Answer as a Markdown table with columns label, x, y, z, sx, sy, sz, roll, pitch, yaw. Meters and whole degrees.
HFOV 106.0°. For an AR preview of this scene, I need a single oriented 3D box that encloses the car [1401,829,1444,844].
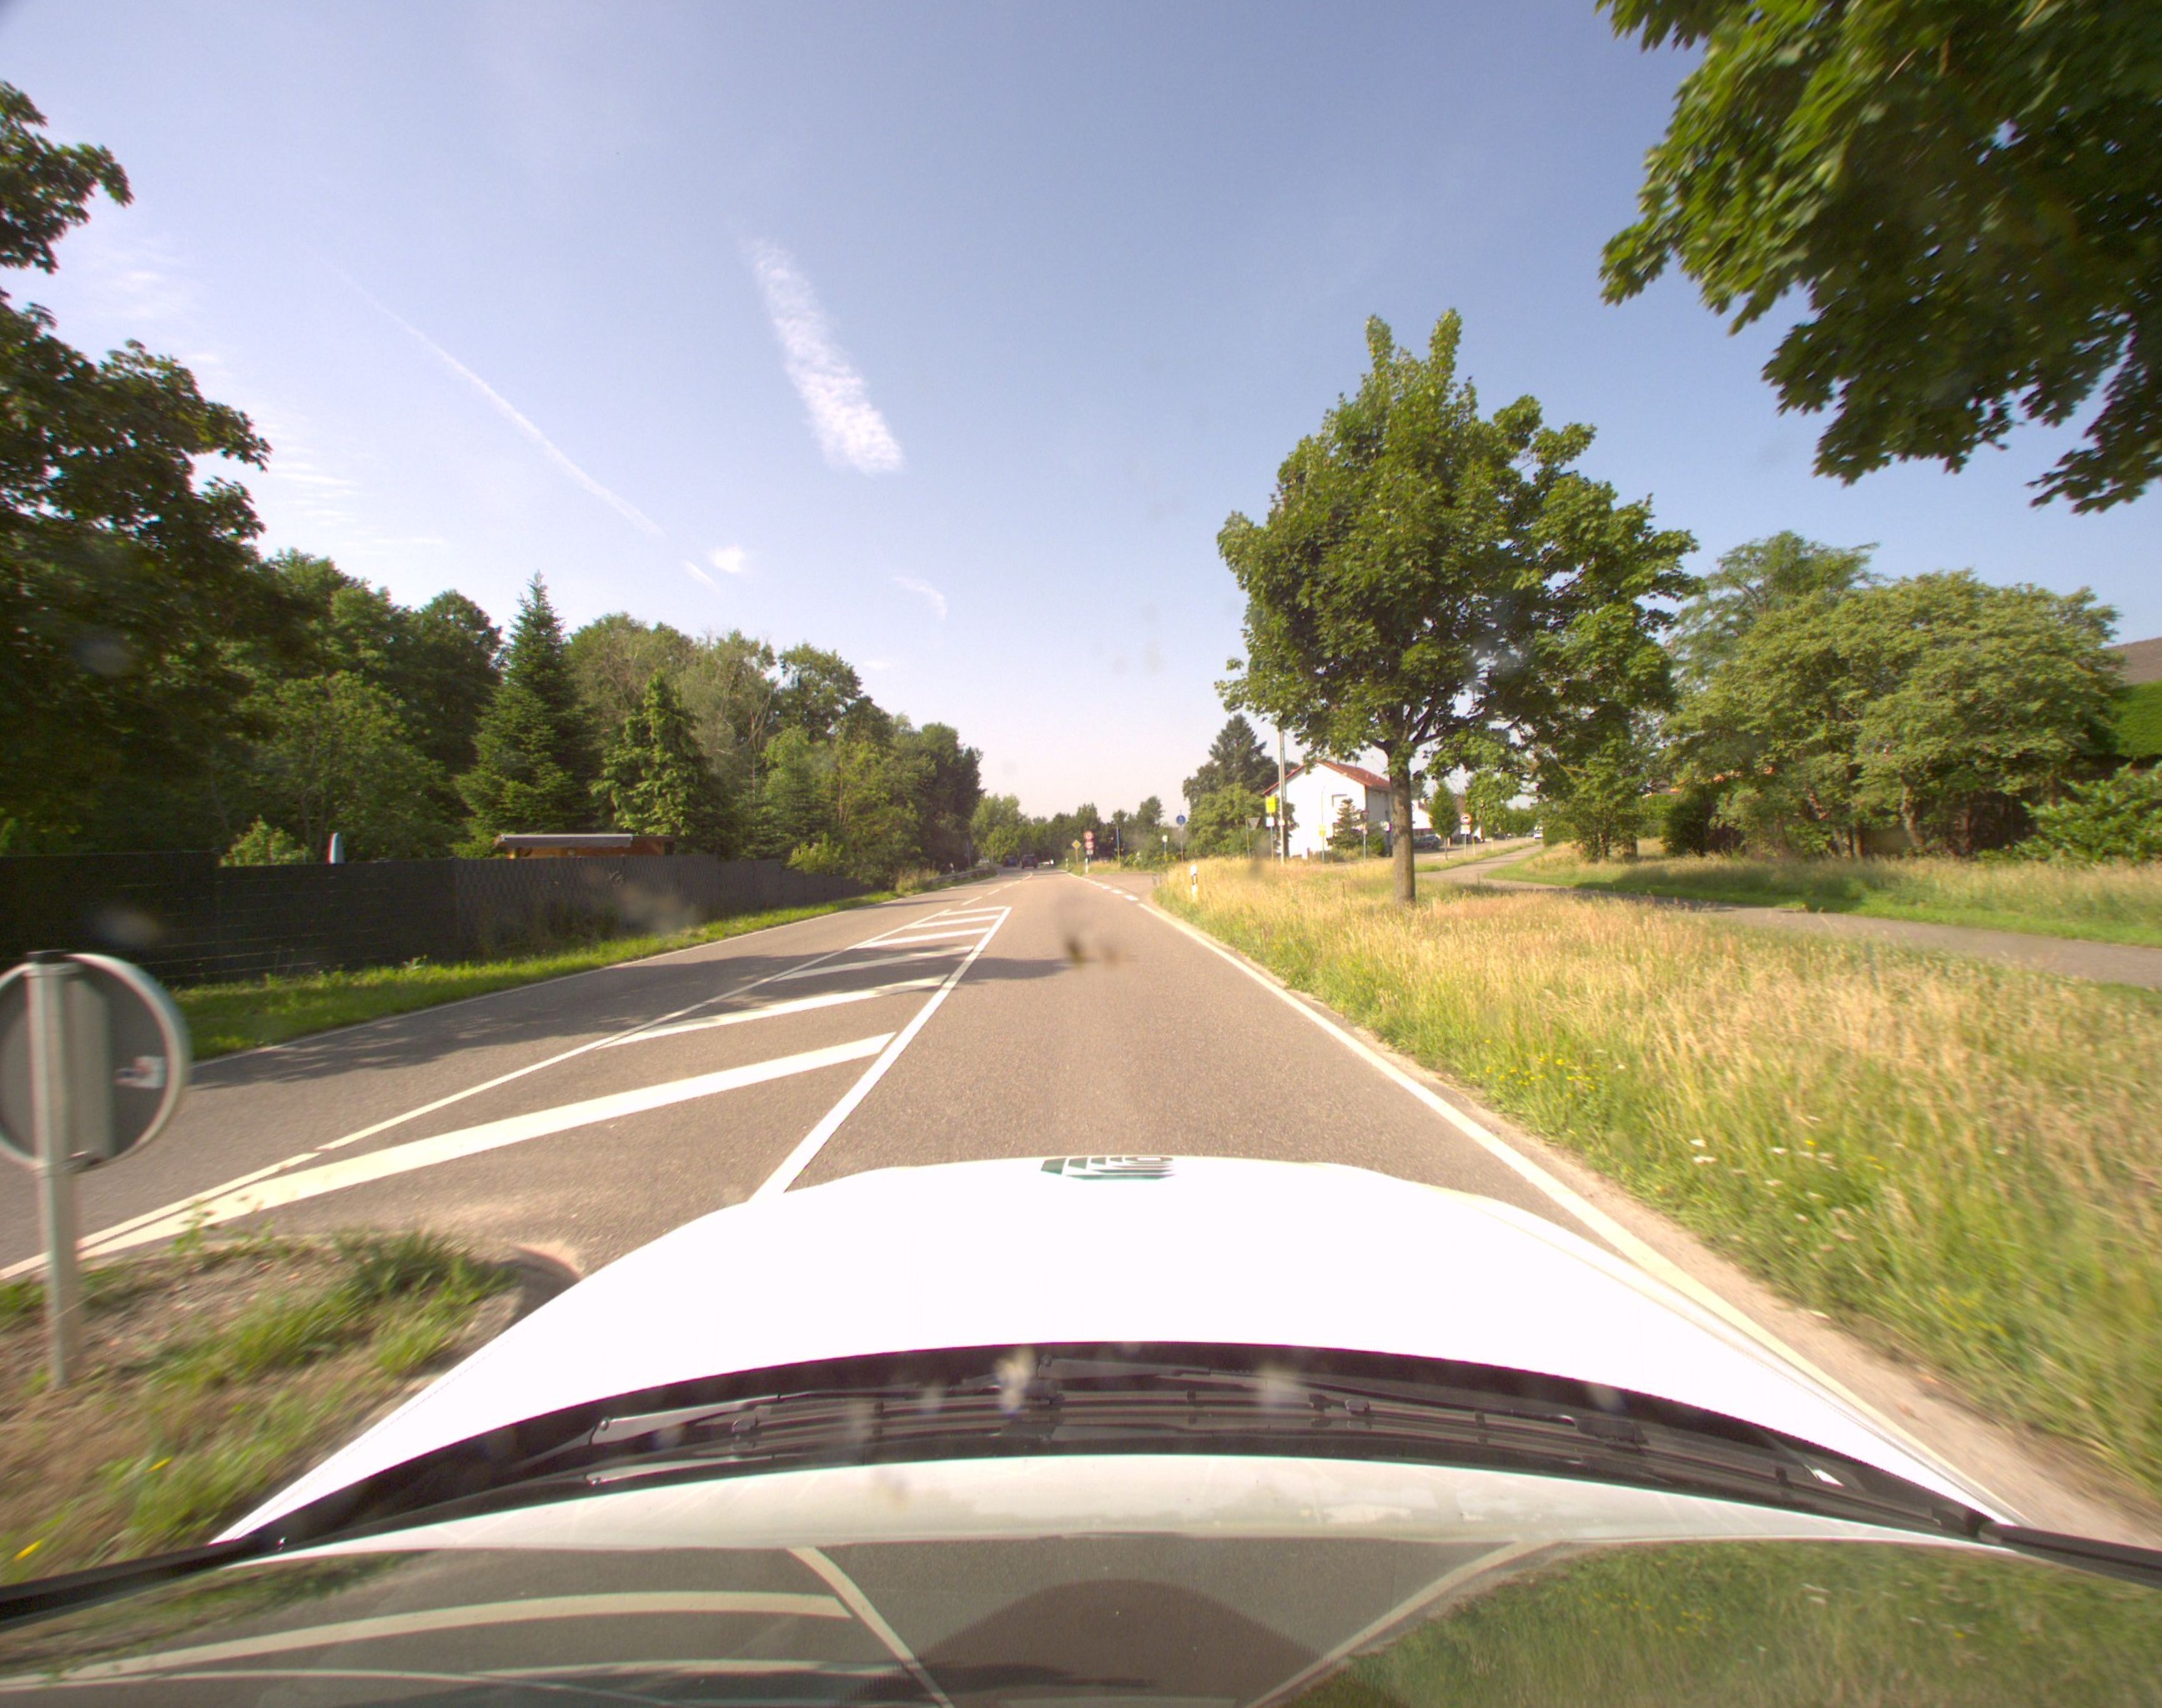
| label | x | y | z | sx | sy | sz | roll | pitch | yaw |
| --- | --- | --- | --- | --- | --- | --- | --- | --- | --- |
| car | 40.859 | -2.076 | 97.501 | 4.403 | 1.698 | 1.782 | -1 | 0 | 38 |

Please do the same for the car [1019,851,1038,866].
| label | x | y | z | sx | sy | sz | roll | pitch | yaw |
| --- | --- | --- | --- | --- | --- | --- | --- | --- | --- |
| car | -6.602 | 0.549 | 102.336 | 1.926 | 1.771 | 3.986 | -2 | 1 | -11 |

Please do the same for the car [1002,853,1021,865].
| label | x | y | z | sx | sy | sz | roll | pitch | yaw |
| --- | --- | --- | --- | --- | --- | --- | --- | --- | --- |
| car | -10.584 | 0.784 | 123.908 | 2.009 | 1.771 | 3.977 | -2 | 1 | -17 |
